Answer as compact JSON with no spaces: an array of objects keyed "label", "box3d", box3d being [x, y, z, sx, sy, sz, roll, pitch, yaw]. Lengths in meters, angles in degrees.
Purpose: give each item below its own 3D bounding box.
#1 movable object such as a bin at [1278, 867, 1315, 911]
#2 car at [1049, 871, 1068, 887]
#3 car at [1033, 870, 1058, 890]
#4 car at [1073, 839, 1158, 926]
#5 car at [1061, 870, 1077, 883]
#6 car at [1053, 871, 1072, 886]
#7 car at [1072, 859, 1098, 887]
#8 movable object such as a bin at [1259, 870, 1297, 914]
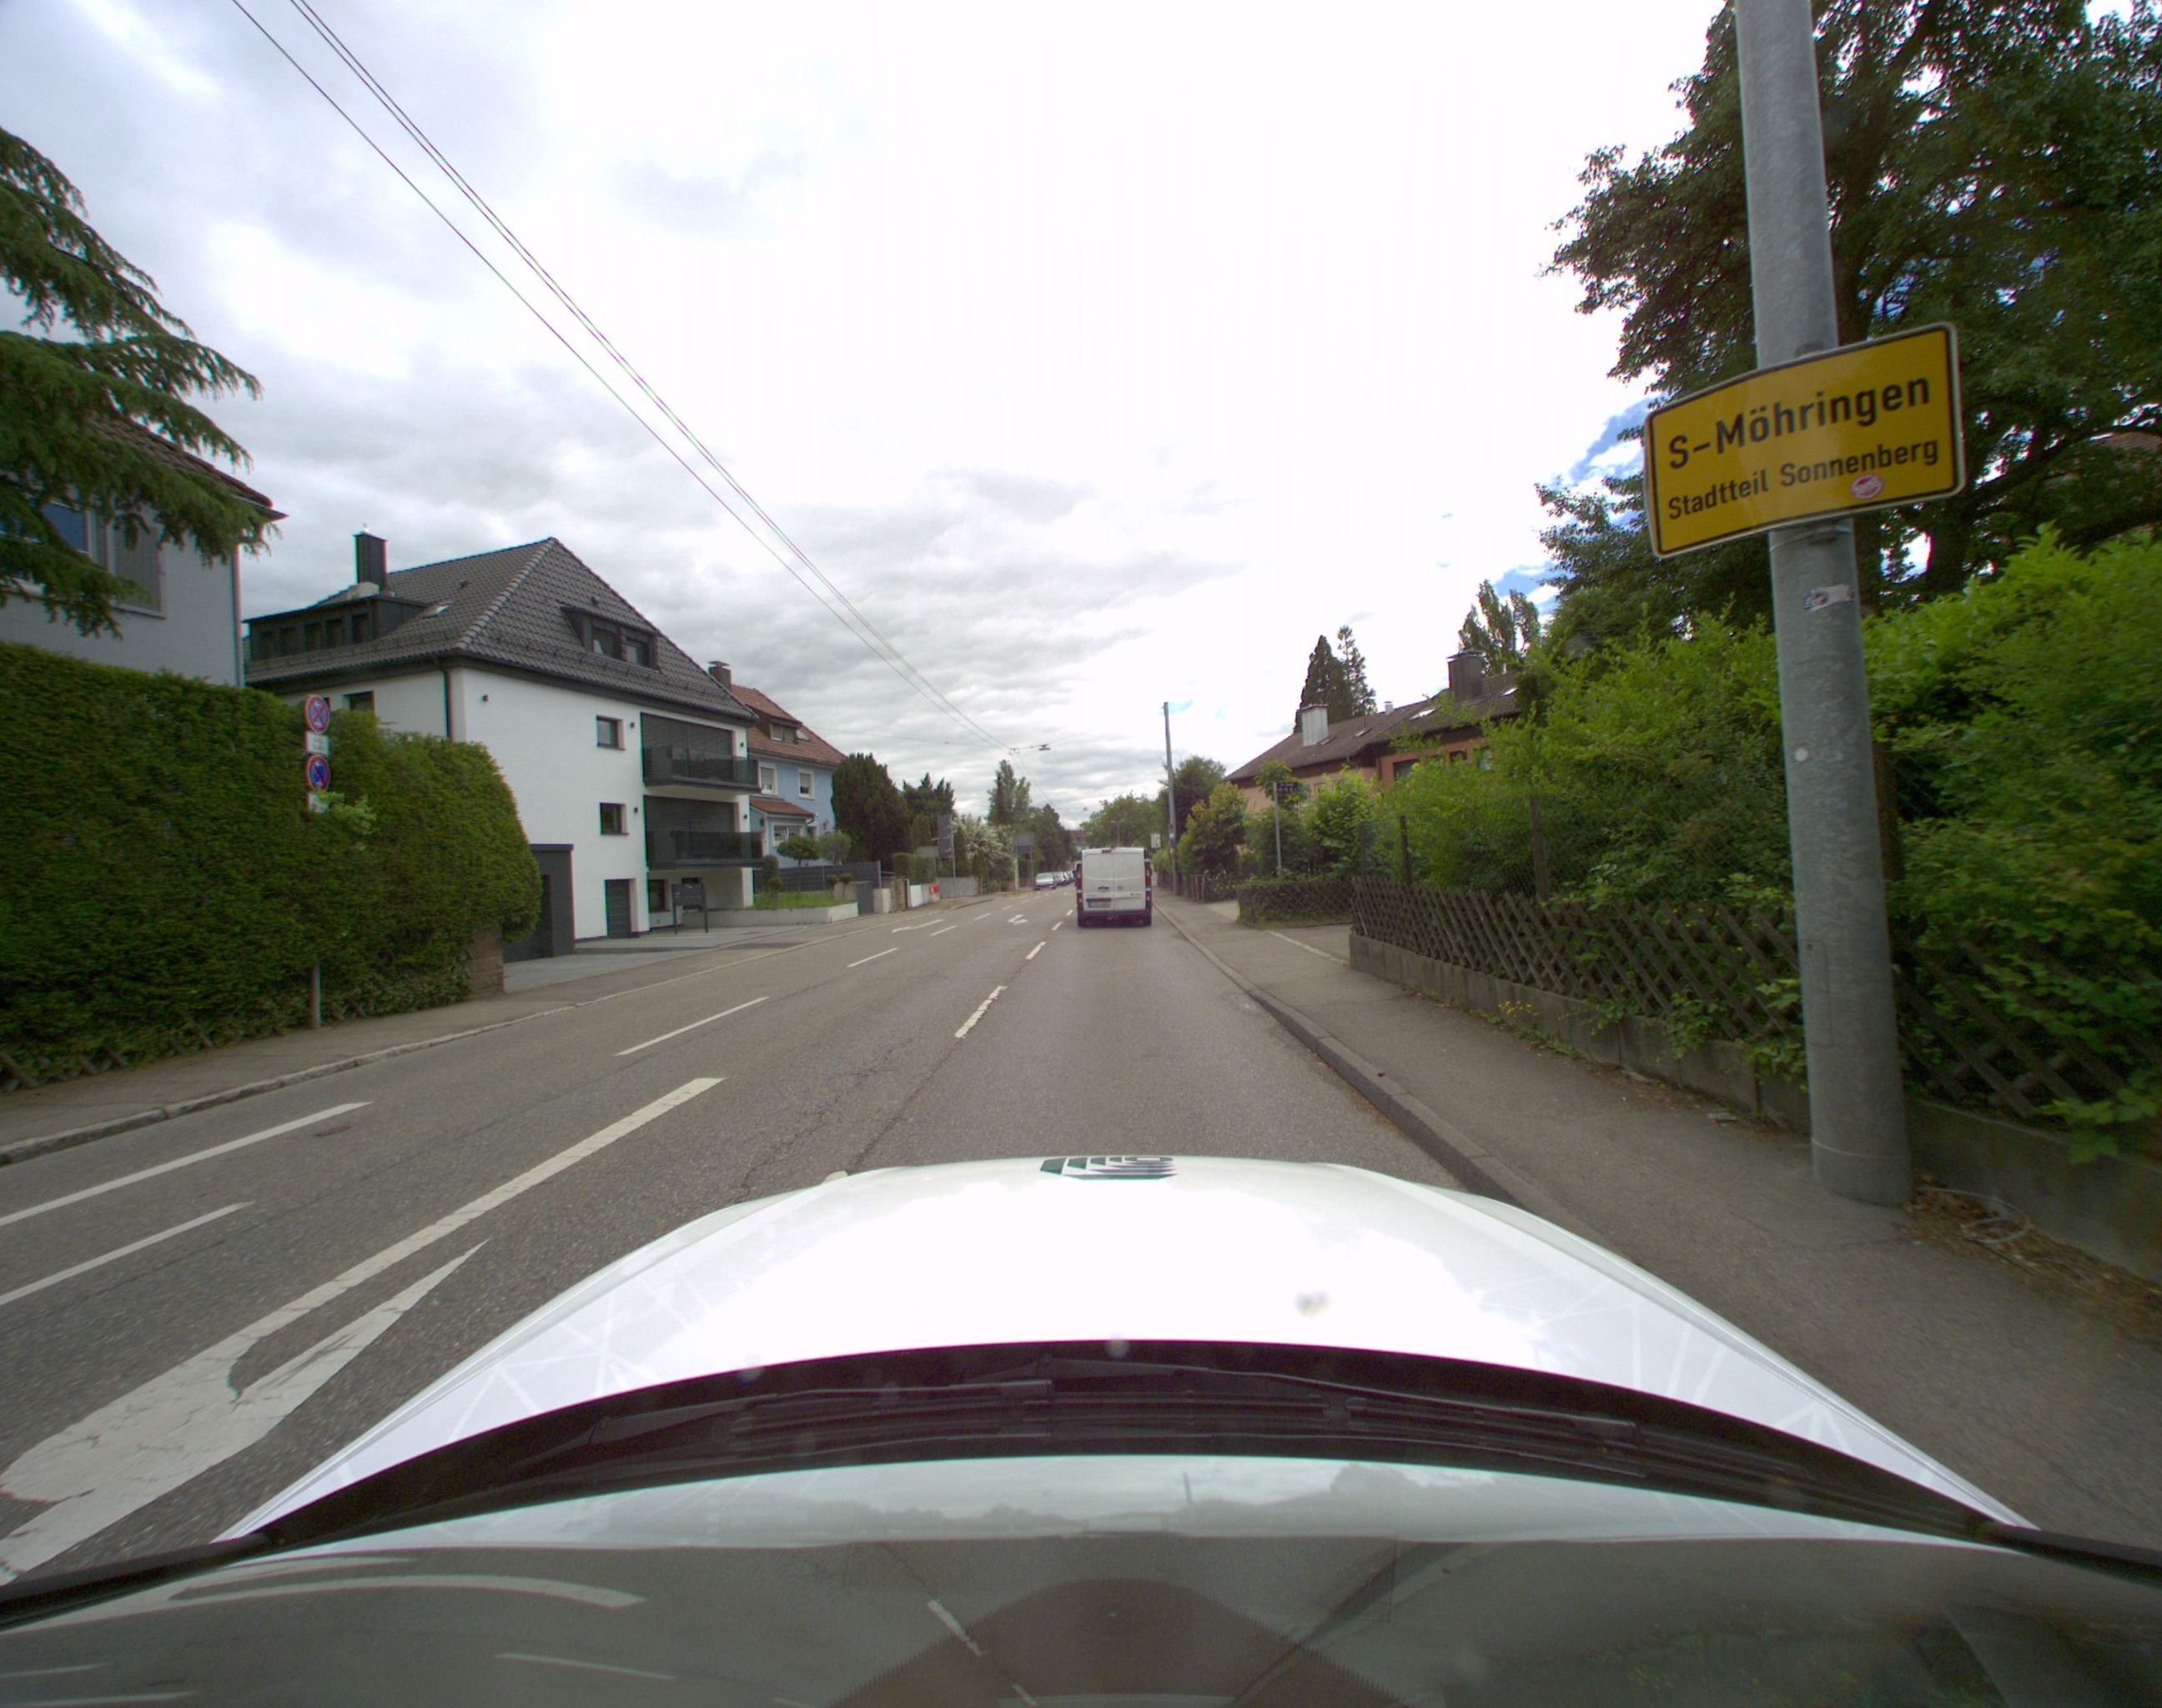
[{"label":"movable object such as a bin","box3d":[4.980,0.812,18.822,0.447,0.956,0.683,-6,0,-15]},{"label":"car","box3d":[-2.326,2.645,85.918,1.672,1.556,3.973,-5,-2,2]},{"label":"car","box3d":[-3.090,2.239,71.193,1.803,1.455,4.414,-5,-1,1]},{"label":"car","box3d":[0.889,0.717,21.901,1.999,2.038,5.011,-1,-1,2]},{"label":"car","box3d":[-1.544,2.939,105.632,1.662,1.488,4.433,-4,-1,3]},{"label":"car","box3d":[-2.092,2.818,93.890,1.883,1.494,4.028,-4,-1,1]},{"label":"car","box3d":[0.433,1.796,79.478,2.103,2.498,6.129,-3,0,3]},{"label":"movable object such as a bin","box3d":[4.508,0.862,18.666,0.448,0.956,0.682,-6,0,-18]}]
